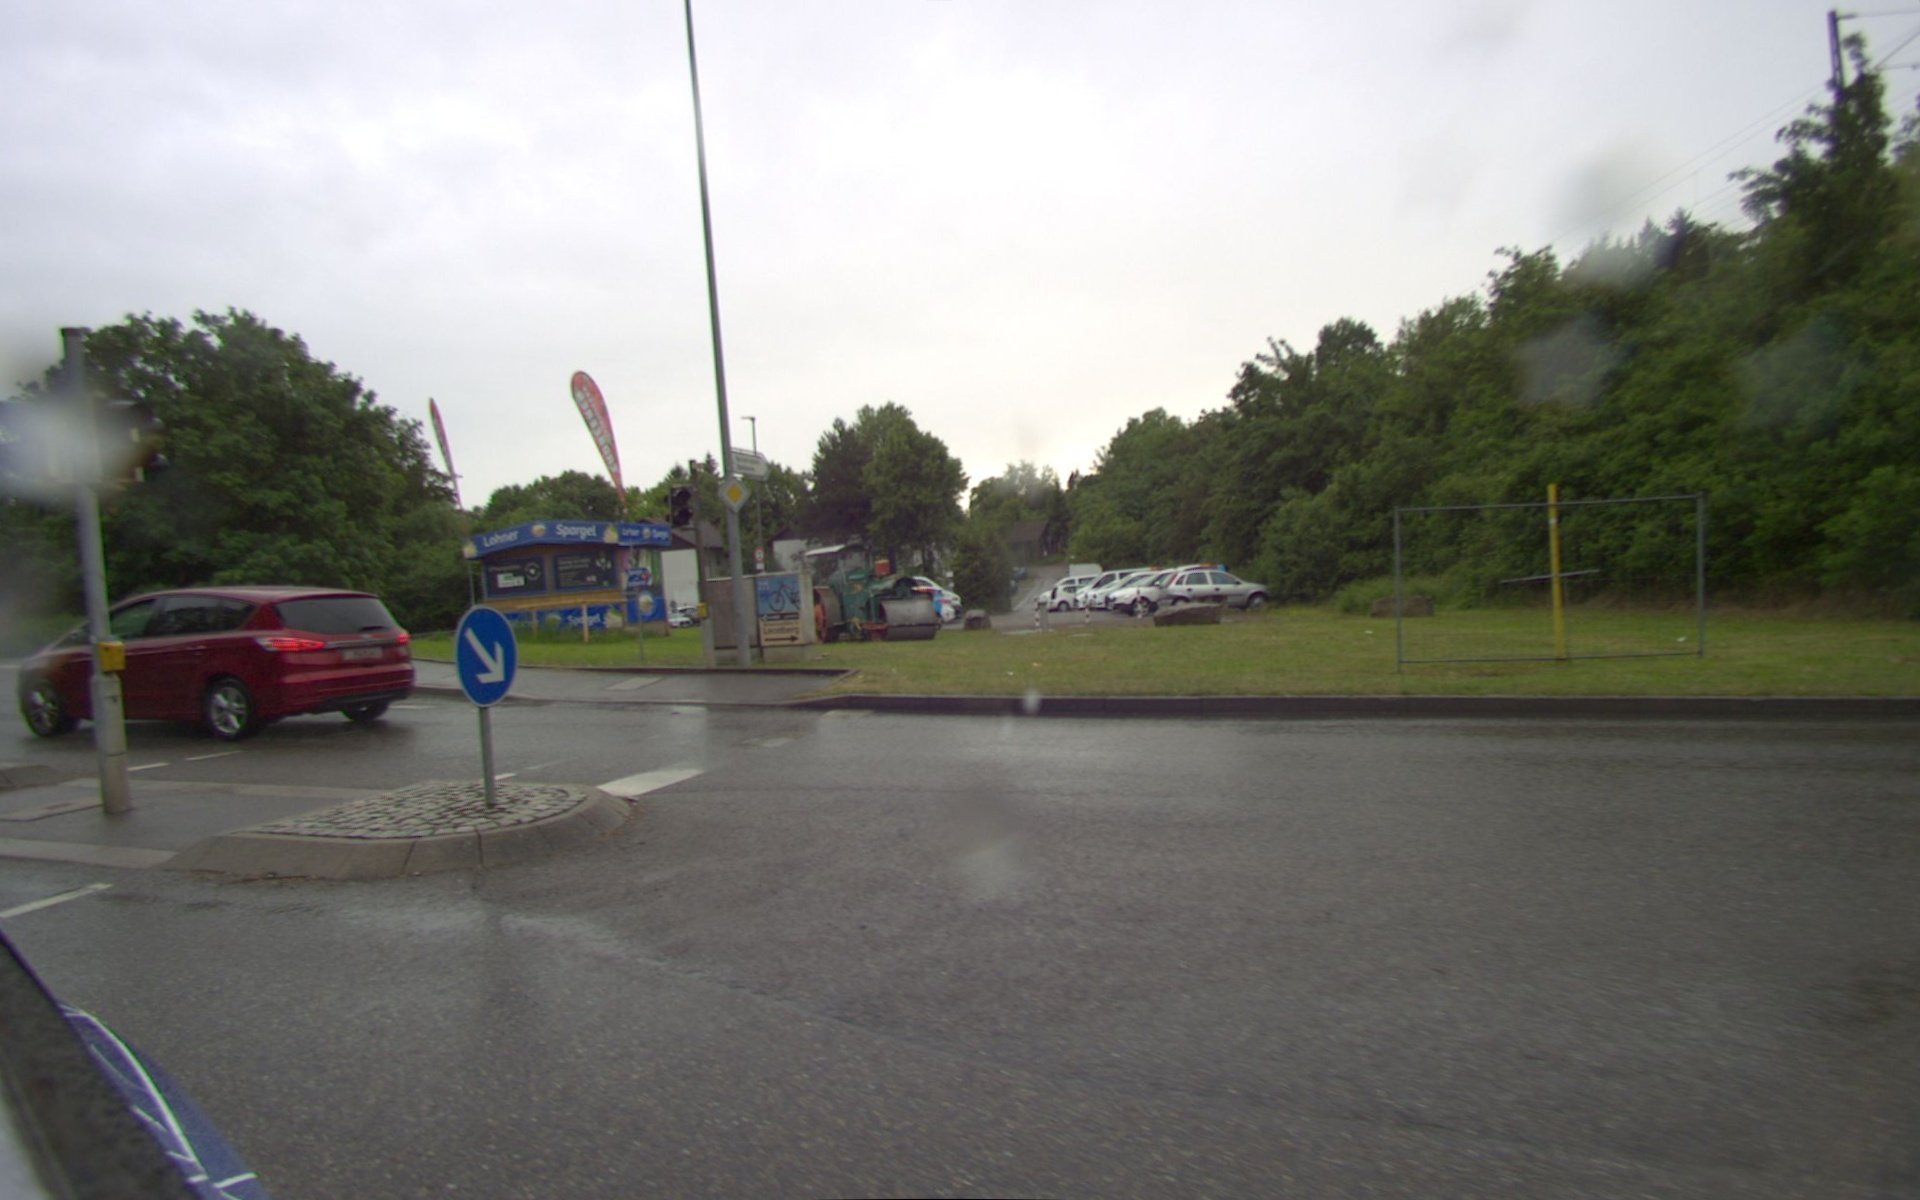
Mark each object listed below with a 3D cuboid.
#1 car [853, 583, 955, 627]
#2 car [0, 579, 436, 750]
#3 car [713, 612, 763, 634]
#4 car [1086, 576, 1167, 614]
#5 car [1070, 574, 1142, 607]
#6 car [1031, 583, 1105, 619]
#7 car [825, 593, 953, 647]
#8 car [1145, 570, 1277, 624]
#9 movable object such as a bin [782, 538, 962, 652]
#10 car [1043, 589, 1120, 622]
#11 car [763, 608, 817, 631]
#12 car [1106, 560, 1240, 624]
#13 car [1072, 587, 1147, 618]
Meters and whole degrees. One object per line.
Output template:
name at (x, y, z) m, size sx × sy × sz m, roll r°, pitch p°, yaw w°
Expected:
car at (-2.467, 0.224, 45.153) m, size 4.331 × 1.779 × 1.920 m, roll -2°, pitch 0°, yaw 3°
car at (-8.736, 0.699, 11.767) m, size 4.639 × 1.727 × 1.894 m, roll -2°, pitch 0°, yaw 16°
car at (-16.834, 1.741, 76.901) m, size 1.570 × 1.522 × 3.380 m, roll -1°, pitch 0°, yaw 43°
car at (7.337, -0.205, 44.698) m, size 3.318 × 1.551 × 1.446 m, roll -2°, pitch 0°, yaw 3°
car at (7.430, -0.479, 51.618) m, size 3.431 × 1.551 × 1.448 m, roll -2°, pitch 0°, yaw 0°
car at (6.035, 0.045, 56.850) m, size 3.905 × 1.893 × 1.695 m, roll -2°, pitch 0°, yaw -2°
car at (-2.246, 0.635, 32.655) m, size 3.946 × 1.586 × 1.669 m, roll -2°, pitch 0°, yaw 2°
car at (8.008, -0.102, 32.550) m, size 3.773 × 1.580 × 1.774 m, roll -2°, pitch 0°, yaw 2°
movable object such as a bin at (-2.503, -0.047, 27.048) m, size 2.272 × 2.706 × 5.718 m, roll -2°, pitch -1°, yaw -33°
car at (6.507, 0.269, 54.371) m, size 3.825 × 1.640 × 1.695 m, roll -2°, pitch 0°, yaw -2°
car at (-12.173, 1.406, 72.427) m, size 1.570 × 1.522 × 3.552 m, roll -1°, pitch 0°, yaw 43°
car at (7.228, -0.276, 34.666) m, size 4.178 × 1.995 × 1.903 m, roll -2°, pitch 0°, yaw 2°
car at (7.268, 0.114, 49.356) m, size 3.431 × 1.409 × 1.448 m, roll -2°, pitch 0°, yaw 0°
